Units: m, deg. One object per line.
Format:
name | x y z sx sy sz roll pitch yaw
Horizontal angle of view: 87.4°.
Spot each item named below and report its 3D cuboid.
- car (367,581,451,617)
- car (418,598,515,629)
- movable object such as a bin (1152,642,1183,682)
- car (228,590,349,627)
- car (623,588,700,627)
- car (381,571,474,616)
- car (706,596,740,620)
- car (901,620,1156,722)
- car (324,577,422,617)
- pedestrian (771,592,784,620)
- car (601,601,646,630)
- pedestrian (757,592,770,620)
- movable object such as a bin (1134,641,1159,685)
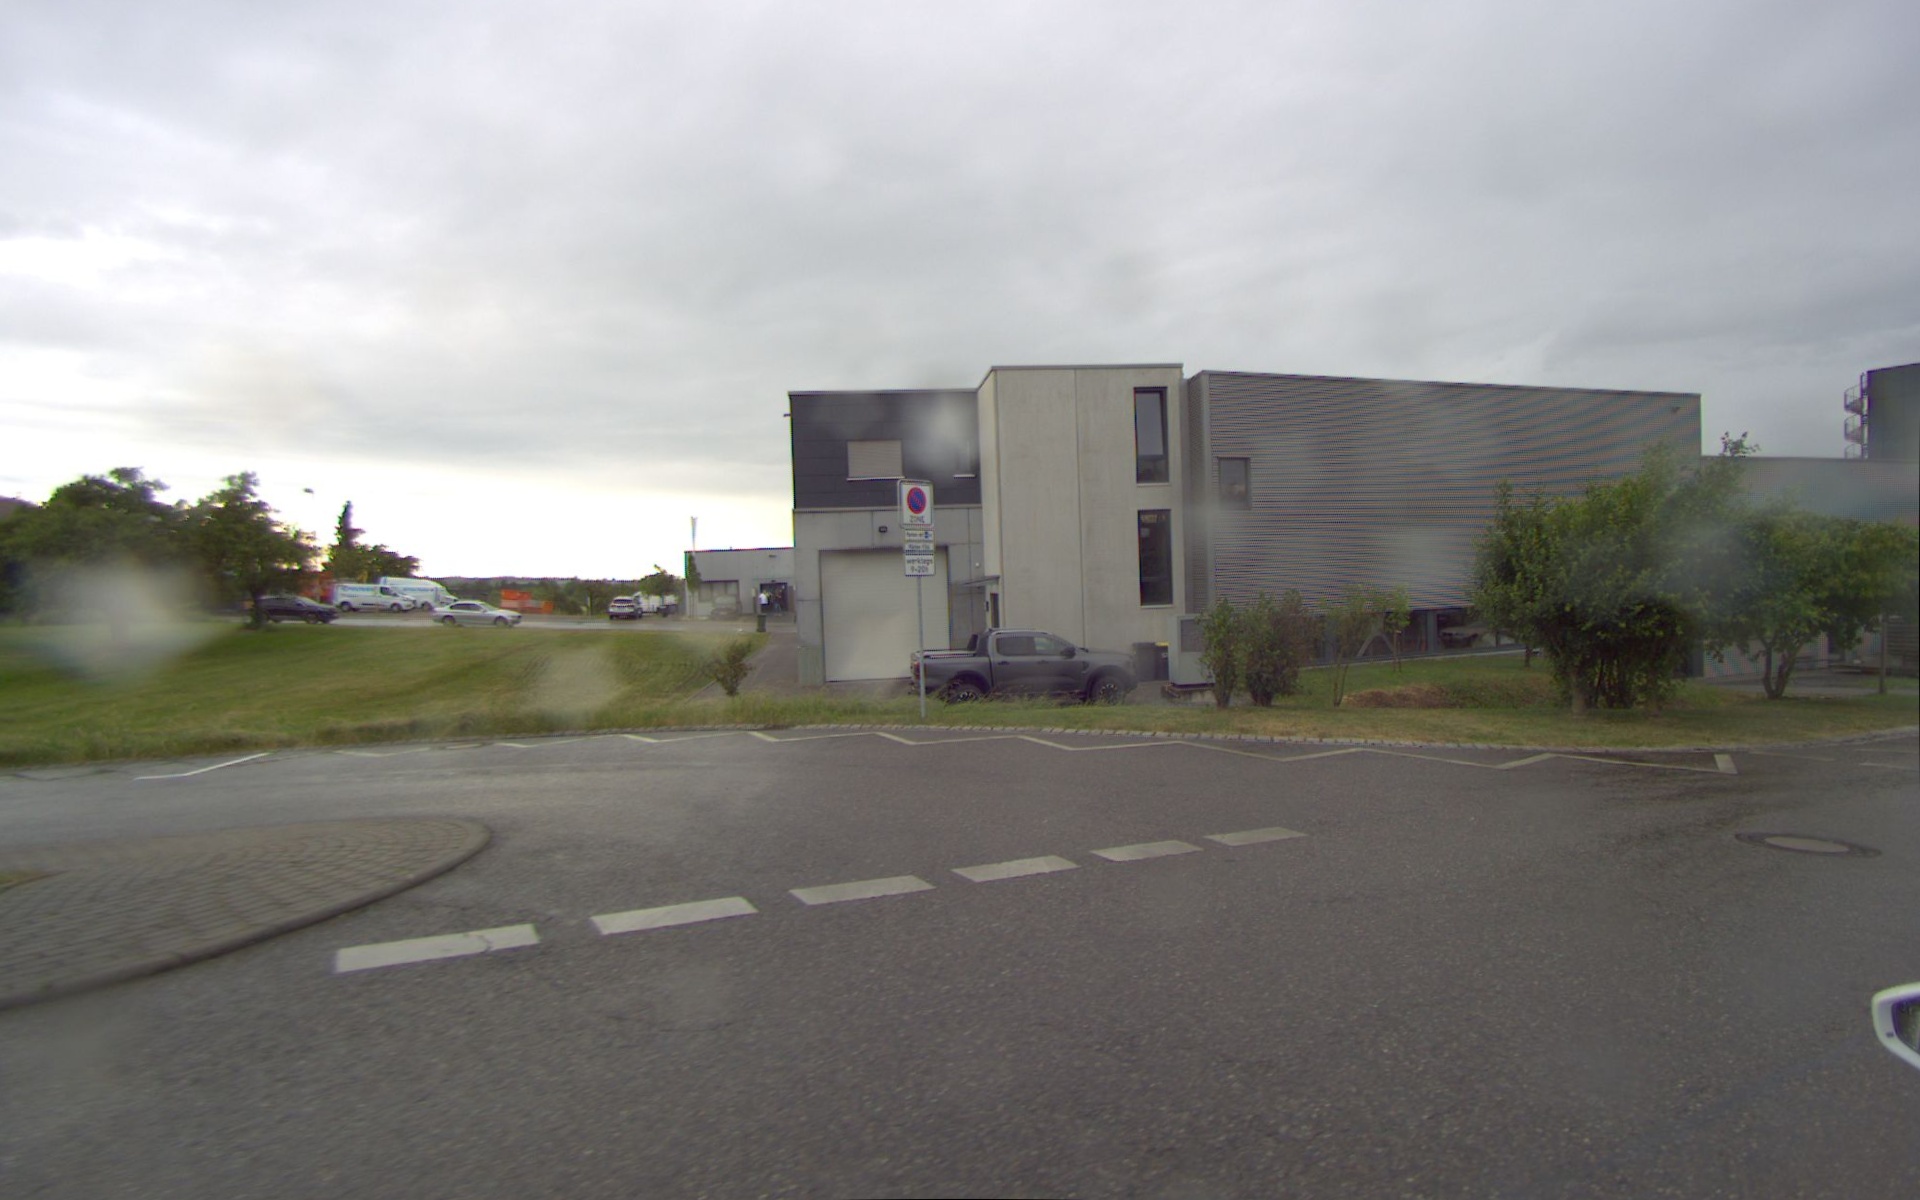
car | -42.787 -0.067 78.153 5.336 2.603 1.996 1 -1 -12
car | -28.586 0.784 58.295 4.533 1.670 2.289 -1 -2 -7
movable object such as a bin | 5.801 1.728 28.103 0.661 1.111 0.636 -1 -2 -5
car | -38.872 0.514 58.284 5.321 2.000 2.289 1 -3 -7
car | -28.248 0.718 95.130 6.604 3.470 2.543 -1 -2 -7
car | -42.782 -0.518 80.845 6.183 3.474 1.998 1 -1 -6
car | -16.615 0.574 70.654 1.777 1.639 3.997 0 -1 -5
car | 1.491 1.565 23.123 5.506 1.947 2.133 -2 0 -8
car | -42.173 -0.234 72.344 5.712 2.738 1.995 1 0 -13
pedestrian | -13.116 0.445 72.252 0.847 2.031 0.659 0 0 -4
car | -23.302 1.057 69.684 2.239 1.880 4.710 0 0 -10
pedestrian | -14.146 0.437 72.332 0.835 2.040 0.646 0 0 -2
movable object such as a bin | 5.193 1.754 27.985 0.557 1.181 0.556 -1 -1 -5
